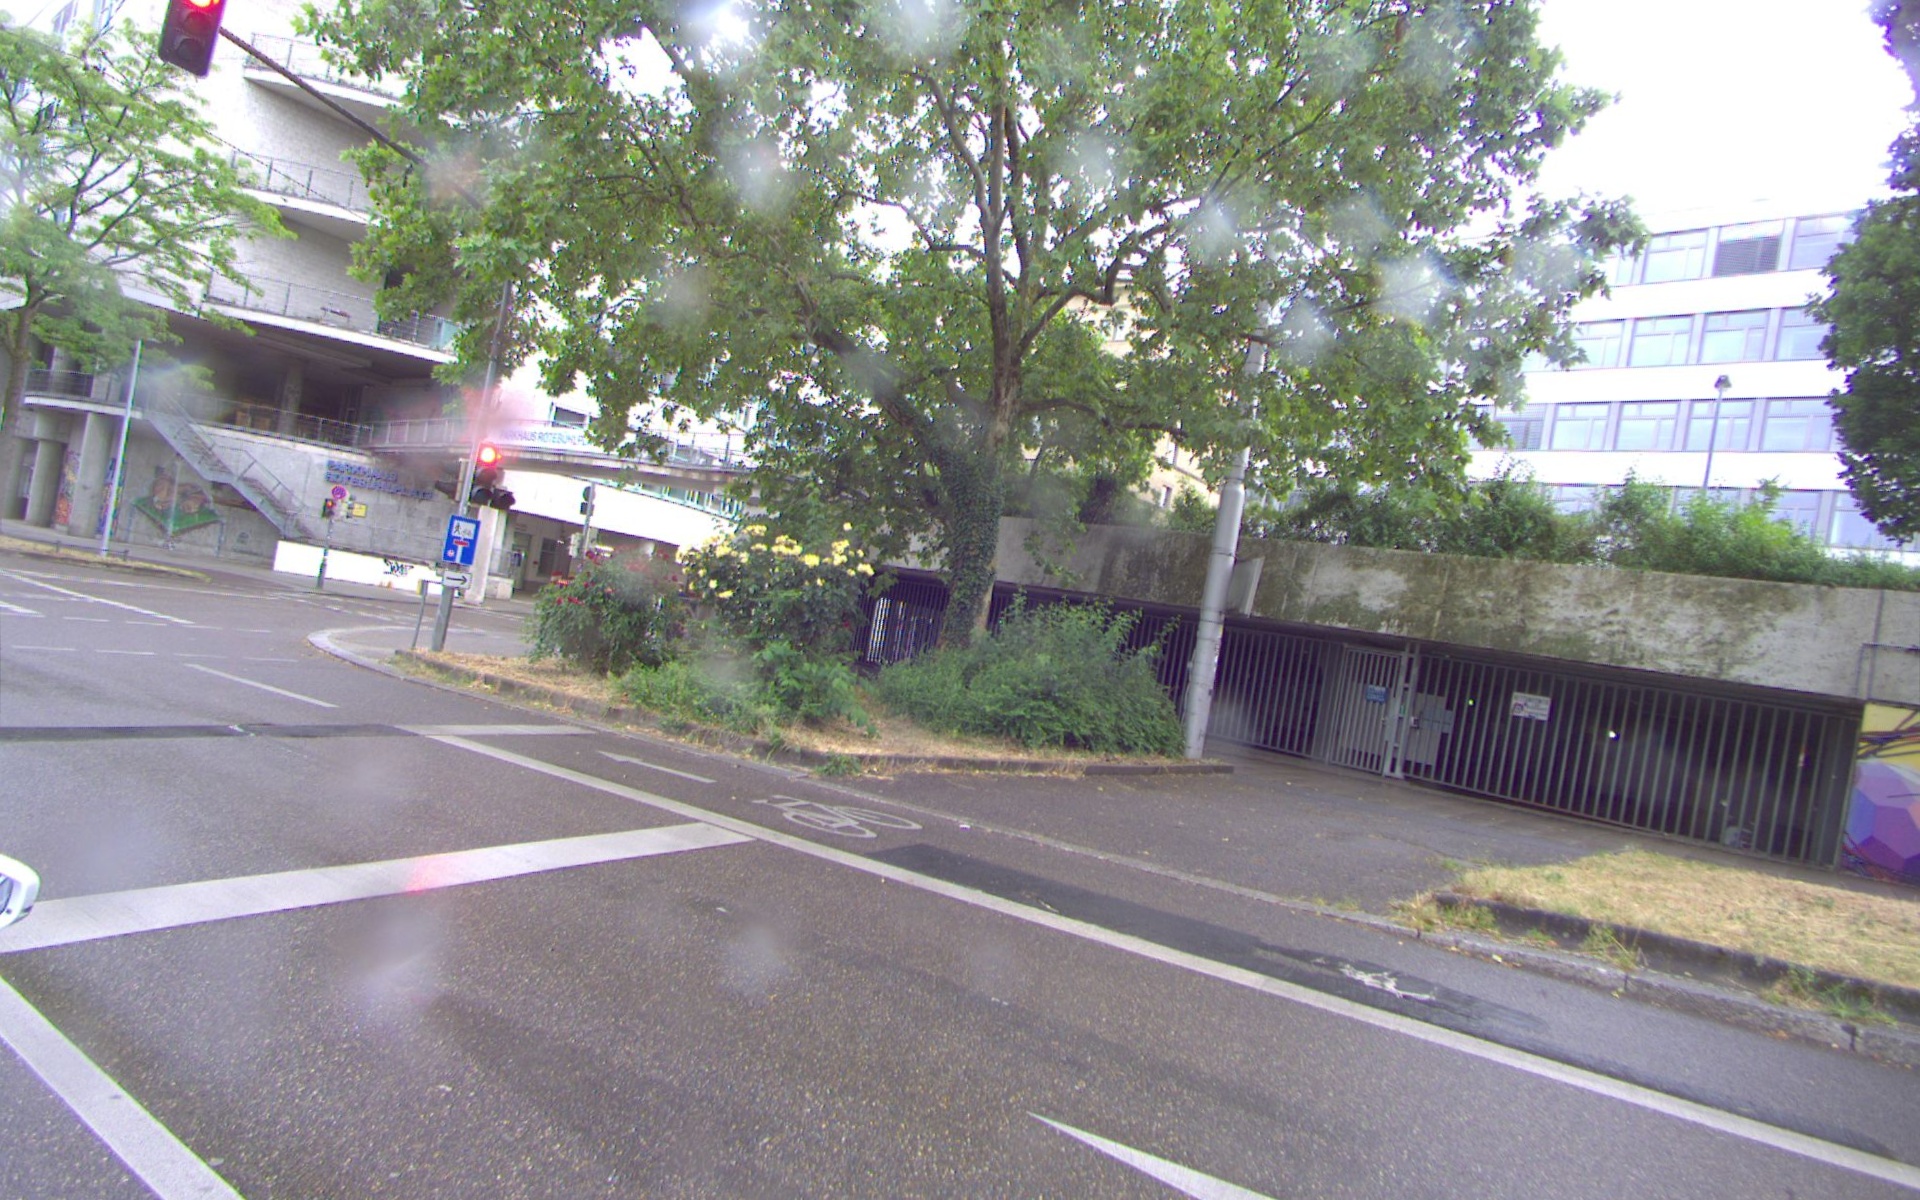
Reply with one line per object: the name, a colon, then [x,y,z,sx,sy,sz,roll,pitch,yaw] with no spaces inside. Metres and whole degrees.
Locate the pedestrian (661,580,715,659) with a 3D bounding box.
pedestrian: [-7.183,0.513,26.564,0.745,1.932,0.847,8,-1,31]
